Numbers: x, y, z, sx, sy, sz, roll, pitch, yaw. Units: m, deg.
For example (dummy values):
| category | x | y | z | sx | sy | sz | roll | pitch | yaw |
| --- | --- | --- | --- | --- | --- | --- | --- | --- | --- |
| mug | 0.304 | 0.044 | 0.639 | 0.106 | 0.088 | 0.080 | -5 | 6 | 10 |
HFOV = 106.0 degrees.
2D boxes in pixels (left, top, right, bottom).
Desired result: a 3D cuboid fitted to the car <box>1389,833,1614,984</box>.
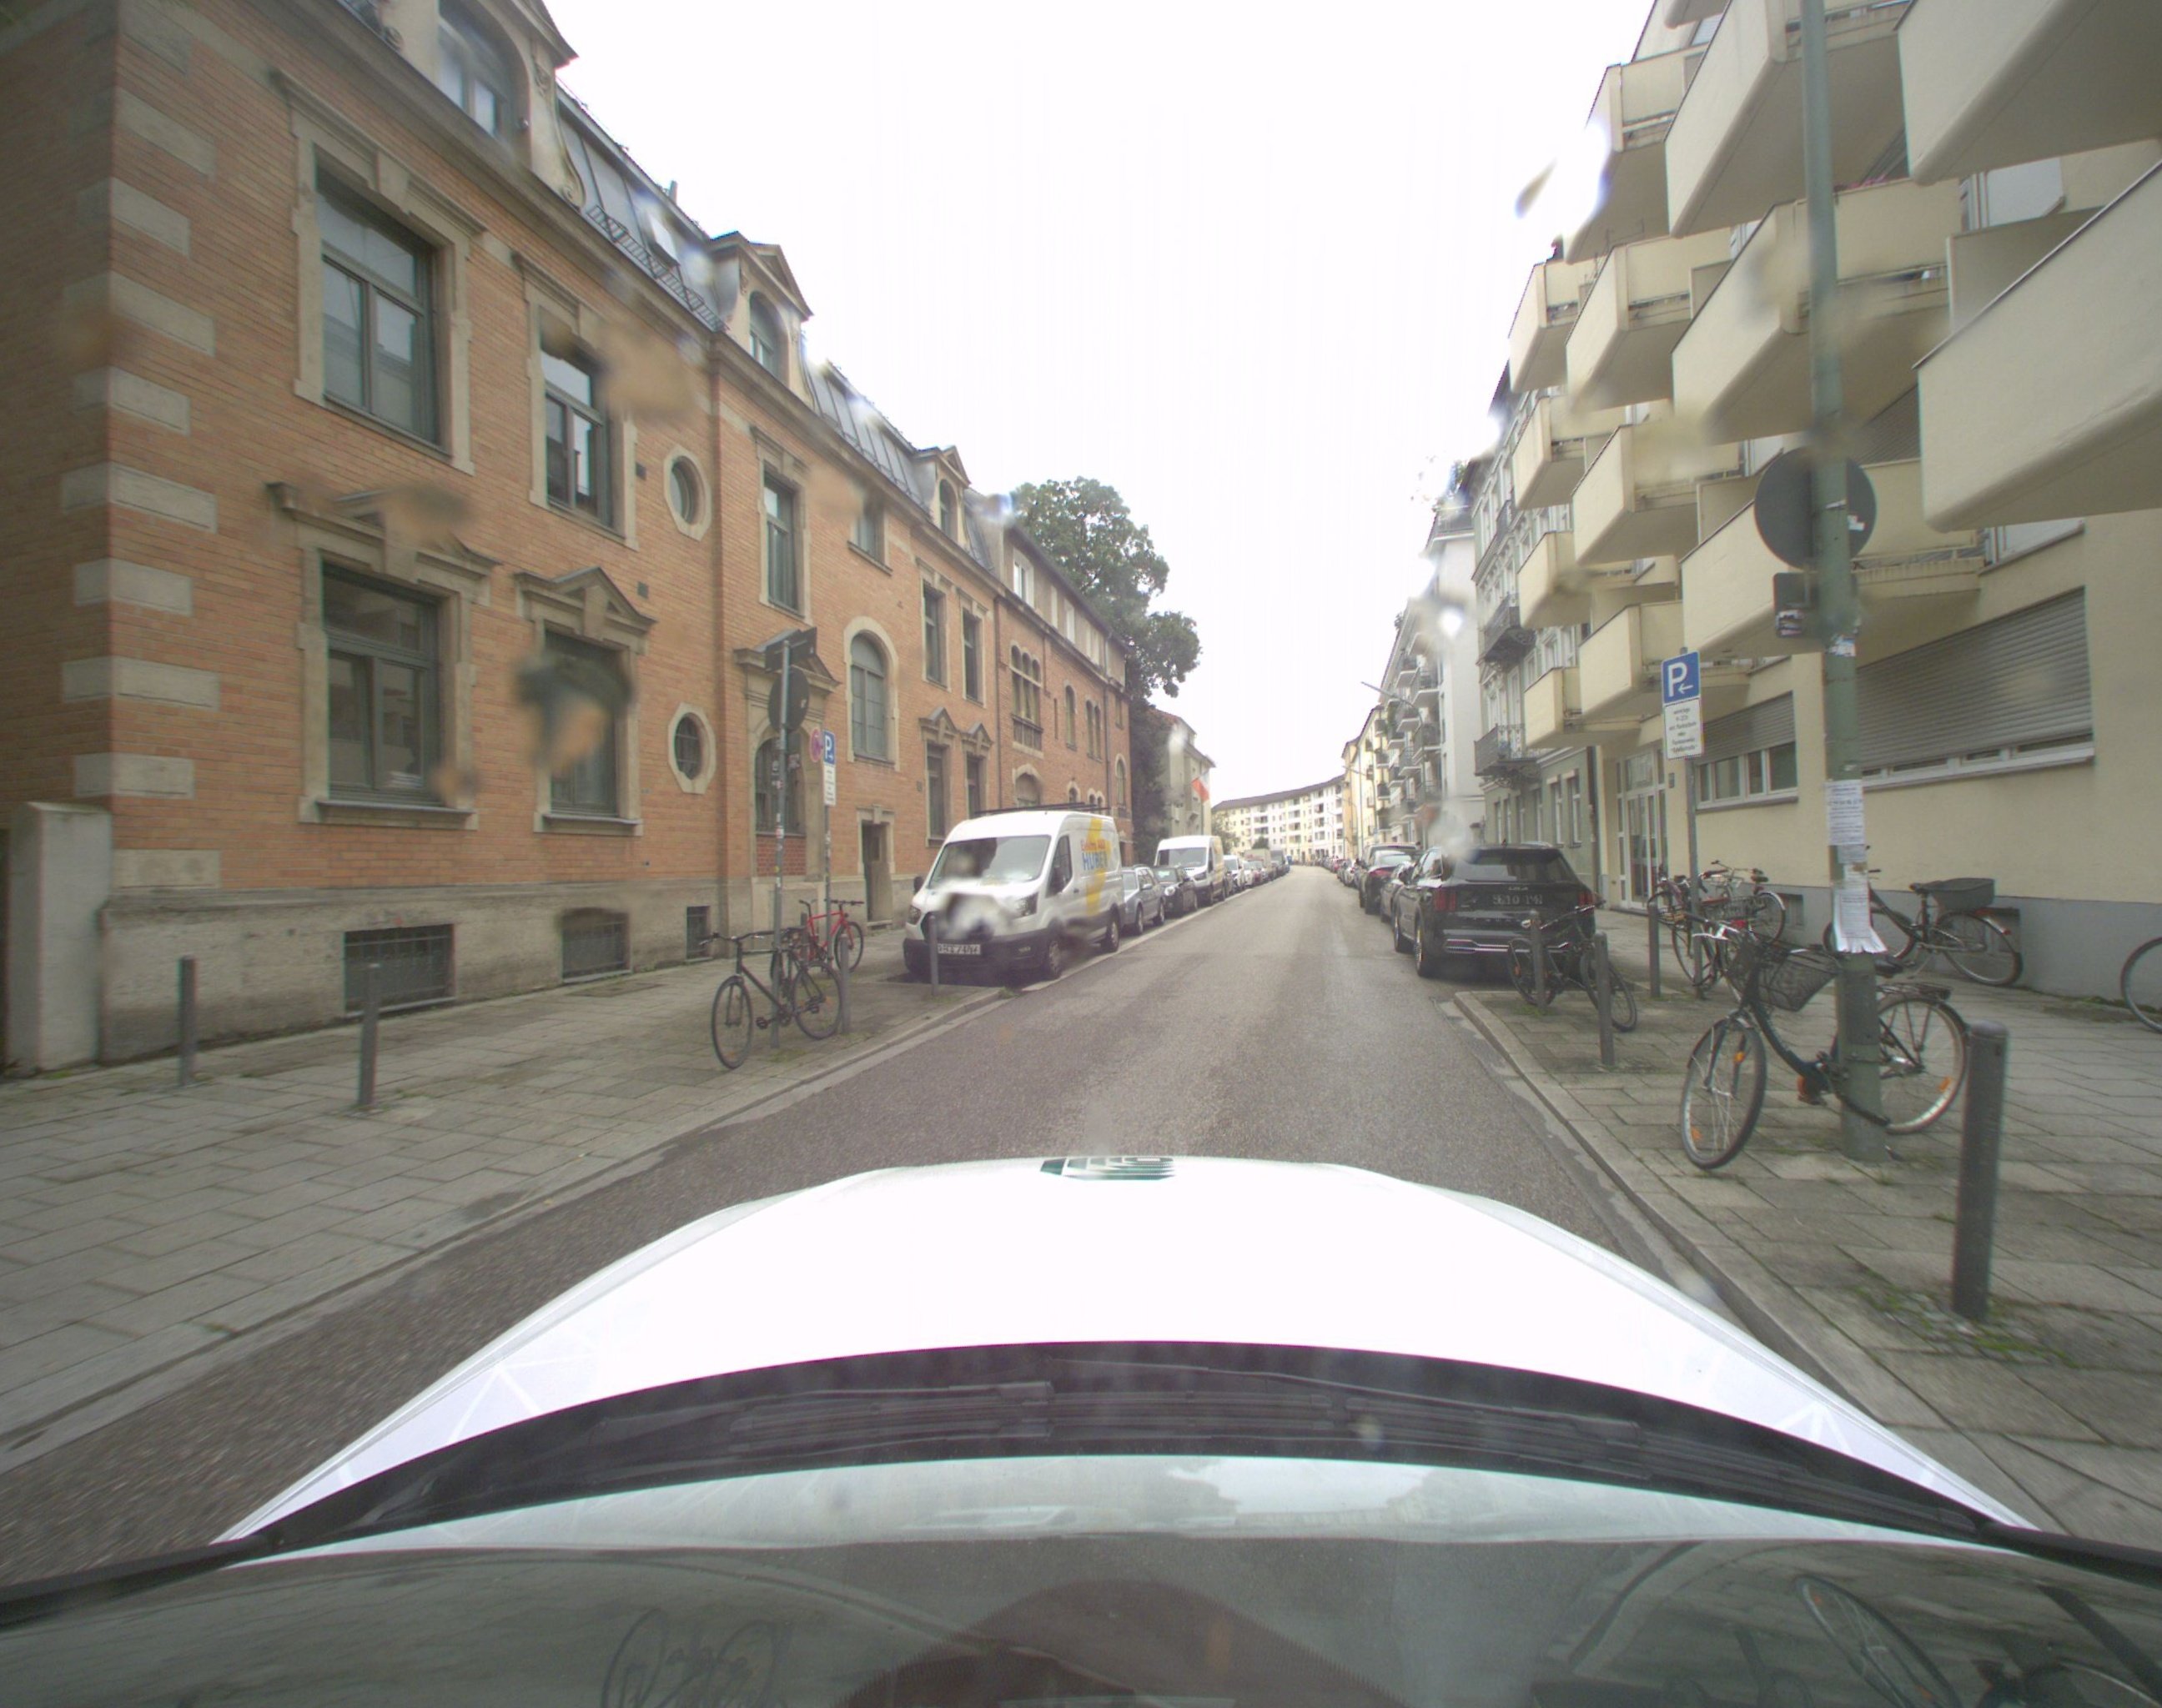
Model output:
| category | x | y | z | sx | sy | sz | roll | pitch | yaw |
| --- | --- | --- | --- | --- | --- | --- | --- | --- | --- |
| car | 5.497 | 0.651 | 11.299 | 1.836 | 1.639 | 4.569 | -2 | -1 | 16 |

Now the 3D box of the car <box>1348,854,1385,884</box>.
| category | x | y | z | sx | sy | sz | roll | pitch | yaw |
| --- | --- | --- | --- | --- | --- | --- | --- | --- | --- |
| car | 14.719 | 0.761 | 42.098 | 1.636 | 1.434 | 4.018 | -3 | -1 | 17 |

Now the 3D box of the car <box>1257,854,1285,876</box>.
| category | x | y | z | sx | sy | sz | roll | pitch | yaw |
| --- | --- | --- | --- | --- | --- | --- | --- | --- | --- |
| car | 16.115 | 0.942 | 68.970 | 1.978 | 1.762 | 4.400 | -3 | -1 | 17 |

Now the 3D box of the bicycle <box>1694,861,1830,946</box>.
| category | x | y | z | sx | sy | sz | roll | pitch | yaw |
| --- | --- | --- | --- | --- | --- | --- | --- | --- | --- |
| bicycle | 9.212 | 0.634 | 11.111 | 0.576 | 1.054 | 1.843 | -2 | -1 | 11 |

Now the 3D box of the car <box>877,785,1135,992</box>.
| category | x | y | z | sx | sy | sz | roll | pitch | yaw |
| --- | --- | --- | --- | --- | --- | --- | --- | --- | --- |
| car | -0.805 | 0.485 | 12.763 | 1.977 | 2.468 | 5.494 | -4 | -2 | 16 |

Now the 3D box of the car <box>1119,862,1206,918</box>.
| category | x | y | z | sx | sy | sz | roll | pitch | yaw |
| --- | --- | --- | --- | --- | --- | --- | --- | --- | --- |
| car | 2.436 | 0.993 | 23.550 | 1.685 | 1.431 | 3.847 | -3 | -2 | 17 |

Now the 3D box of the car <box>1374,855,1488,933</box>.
| category | x | y | z | sx | sy | sz | roll | pitch | yaw |
| --- | --- | --- | --- | --- | --- | --- | --- | --- | --- |
| car | 7.421 | 0.780 | 17.662 | 1.714 | 1.459 | 4.435 | -1 | -1 | 16 |

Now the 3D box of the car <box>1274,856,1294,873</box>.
| category | x | y | z | sx | sy | sz | roll | pitch | yaw |
| --- | --- | --- | --- | --- | --- | --- | --- | --- | --- |
| car | 23.132 | 1.204 | 92.726 | 1.978 | 1.762 | 4.400 | -3 | -1 | 17 |

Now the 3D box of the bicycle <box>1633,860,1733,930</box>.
| category | x | y | z | sx | sy | sz | roll | pitch | yaw |
| --- | --- | --- | --- | --- | --- | --- | --- | --- | --- |
| bicycle | 9.687 | 0.635 | 13.185 | 0.576 | 1.054 | 1.768 | -2 | -1 | 11 |

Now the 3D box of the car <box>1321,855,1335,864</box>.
| category | x | y | z | sx | sy | sz | roll | pitch | yaw |
| --- | --- | --- | --- | --- | --- | --- | --- | --- | --- |
| car | 39.029 | 0.876 | 128.770 | 1.770 | 1.385 | 4.014 | -2 | -1 | 12 |

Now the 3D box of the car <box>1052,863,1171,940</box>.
| category | x | y | z | sx | sy | sz | roll | pitch | yaw |
| --- | --- | --- | --- | --- | --- | --- | --- | --- | --- |
| car | 0.816 | 1.000 | 18.532 | 1.676 | 1.454 | 4.014 | -4 | -2 | 16 |

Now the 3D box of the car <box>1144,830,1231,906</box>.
| category | x | y | z | sx | sy | sz | roll | pitch | yaw |
| --- | --- | --- | --- | --- | --- | --- | --- | --- | --- |
| car | 3.867 | 0.493 | 28.719 | 2.120 | 2.349 | 5.393 | -3 | -1 | 17 |

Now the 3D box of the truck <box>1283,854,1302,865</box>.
| category | x | y | z | sx | sy | sz | roll | pitch | yaw |
| --- | --- | --- | --- | --- | --- | --- | --- | --- | --- |
| truck | 45.412 | 1.102 | 174.957 | 2.612 | 2.300 | 5.442 | -1 | -1 | 1 |

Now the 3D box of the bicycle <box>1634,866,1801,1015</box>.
| category | x | y | z | sx | sy | sz | roll | pitch | yaw |
| --- | --- | --- | --- | --- | --- | --- | --- | --- | --- |
| bicycle | 5.702 | 0.705 | 7.435 | 0.574 | 1.154 | 1.973 | -3 | -1 | 20 |

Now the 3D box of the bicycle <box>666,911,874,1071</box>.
| category | x | y | z | sx | sy | sz | roll | pitch | yaw |
| --- | --- | --- | --- | --- | --- | --- | --- | --- | --- |
| bicycle | -2.516 | 1.059 | 6.827 | 0.574 | 1.054 | 1.771 | -3 | -1 | 20 |

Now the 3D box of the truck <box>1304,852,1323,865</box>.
| category | x | y | z | sx | sy | sz | roll | pitch | yaw |
| --- | --- | --- | --- | --- | --- | --- | --- | --- | --- |
| truck | 43.622 | 0.817 | 153.159 | 2.217 | 2.300 | 5.293 | -2 | -1 | 2 |

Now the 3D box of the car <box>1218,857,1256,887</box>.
| category | x | y | z | sx | sy | sz | roll | pitch | yaw |
| --- | --- | --- | --- | --- | --- | --- | --- | --- | --- |
| car | 8.702 | 0.998 | 45.273 | 1.833 | 1.540 | 4.014 | -2 | -1 | 13 |

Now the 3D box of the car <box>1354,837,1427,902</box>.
| category | x | y | z | sx | sy | sz | roll | pitch | yaw |
| --- | --- | --- | --- | --- | --- | --- | --- | --- | --- |
| car | 10.563 | 0.529 | 28.110 | 1.856 | 1.968 | 4.836 | -2 | -1 | 15 |

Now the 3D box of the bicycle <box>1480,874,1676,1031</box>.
| category | x | y | z | sx | sy | sz | roll | pitch | yaw |
| --- | --- | --- | --- | --- | --- | --- | --- | --- | --- |
| bicycle | 4.222 | 0.764 | 7.115 | 0.577 | 1.154 | 1.965 | -2 | -1 | 4 |

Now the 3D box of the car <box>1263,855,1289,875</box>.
| category | x | y | z | sx | sy | sz | roll | pitch | yaw |
| --- | --- | --- | --- | --- | --- | --- | --- | --- | --- |
| car | 18.079 | 1.008 | 75.291 | 1.978 | 1.762 | 4.400 | -3 | -1 | 17 |

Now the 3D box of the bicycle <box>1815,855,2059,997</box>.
| category | x | y | z | sx | sy | sz | roll | pitch | yaw |
| --- | --- | --- | --- | --- | --- | --- | --- | --- | --- |
| bicycle | 8.172 | 0.637 | 7.907 | 0.683 | 1.206 | 1.768 | -2 | -1 | 11 |

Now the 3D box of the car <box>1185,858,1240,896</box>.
| category | x | y | z | sx | sy | sz | roll | pitch | yaw |
| --- | --- | --- | --- | --- | --- | --- | --- | --- | --- |
| car | 5.553 | 0.942 | 34.036 | 1.731 | 1.445 | 4.016 | -2 | -1 | 16 |

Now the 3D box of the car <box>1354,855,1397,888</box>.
| category | x | y | z | sx | sy | sz | roll | pitch | yaw |
| --- | --- | --- | --- | --- | --- | --- | --- | --- | --- |
| car | 13.608 | 0.798 | 37.757 | 1.596 | 1.434 | 3.635 | -2 | -1 | 16 |

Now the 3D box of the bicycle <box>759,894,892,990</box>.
| category | x | y | z | sx | sy | sz | roll | pitch | yaw |
| --- | --- | --- | --- | --- | --- | --- | --- | --- | --- |
| bicycle | -3.224 | 1.073 | 10.469 | 0.575 | 1.054 | 1.904 | -1 | -1 | 20 |

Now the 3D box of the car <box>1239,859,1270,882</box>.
| category | x | y | z | sx | sy | sz | roll | pitch | yaw |
| --- | --- | --- | --- | --- | --- | --- | --- | --- | --- |
| car | 11.857 | 1.109 | 55.458 | 1.782 | 1.469 | 3.882 | -2 | -1 | 15 |

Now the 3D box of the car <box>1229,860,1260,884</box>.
| category | x | y | z | sx | sy | sz | roll | pitch | yaw |
| --- | --- | --- | --- | --- | --- | --- | --- | --- | --- |
| car | 10.074 | 1.094 | 49.912 | 1.739 | 1.368 | 4.013 | -2 | -1 | 12 |

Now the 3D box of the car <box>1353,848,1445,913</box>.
| category | x | y | z | sx | sy | sz | roll | pitch | yaw |
| --- | --- | --- | --- | --- | --- | --- | --- | --- | --- |
| car | 8.698 | 0.700 | 22.618 | 1.845 | 1.551 | 4.772 | -2 | -1 | 15 |

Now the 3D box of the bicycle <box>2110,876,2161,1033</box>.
| category | x | y | z | sx | sy | sz | roll | pitch | yaw |
| --- | --- | --- | --- | --- | --- | --- | --- | --- | --- |
| bicycle | 7.408 | 0.676 | 4.933 | 0.574 | 1.054 | 1.771 | -3 | -1 | 20 |

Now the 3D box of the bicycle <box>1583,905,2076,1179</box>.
| category | x | y | z | sx | sy | sz | roll | pitch | yaw |
| --- | --- | --- | --- | --- | --- | --- | --- | --- | --- |
| bicycle | 3.565 | 0.834 | 3.977 | 1.755 | 1.066 | 0.774 | -2 | -1 | -6 |

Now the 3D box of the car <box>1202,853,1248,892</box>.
| category | x | y | z | sx | sy | sz | roll | pitch | yaw |
| --- | --- | --- | --- | --- | --- | --- | --- | --- | --- |
| car | 6.892 | 0.870 | 38.764 | 1.807 | 1.711 | 4.015 | -2 | -1 | 14 |

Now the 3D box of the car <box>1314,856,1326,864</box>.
| category | x | y | z | sx | sy | sz | roll | pitch | yaw |
| --- | --- | --- | --- | --- | --- | --- | --- | --- | --- |
| car | 42.812 | 1.111 | 145.838 | 1.770 | 1.385 | 4.014 | -2 | -1 | 12 |

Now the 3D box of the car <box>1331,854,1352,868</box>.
| category | x | y | z | sx | sy | sz | roll | pitch | yaw |
| --- | --- | --- | --- | --- | --- | --- | --- | --- | --- |
| car | 27.556 | 0.694 | 86.202 | 1.770 | 1.385 | 4.014 | -2 | -1 | 12 |

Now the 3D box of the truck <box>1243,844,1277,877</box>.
| category | x | y | z | sx | sy | sz | roll | pitch | yaw |
| --- | --- | --- | --- | --- | --- | --- | --- | --- | --- |
| truck | 13.616 | 0.513 | 61.795 | 1.978 | 2.319 | 5.433 | -3 | -1 | 17 |
